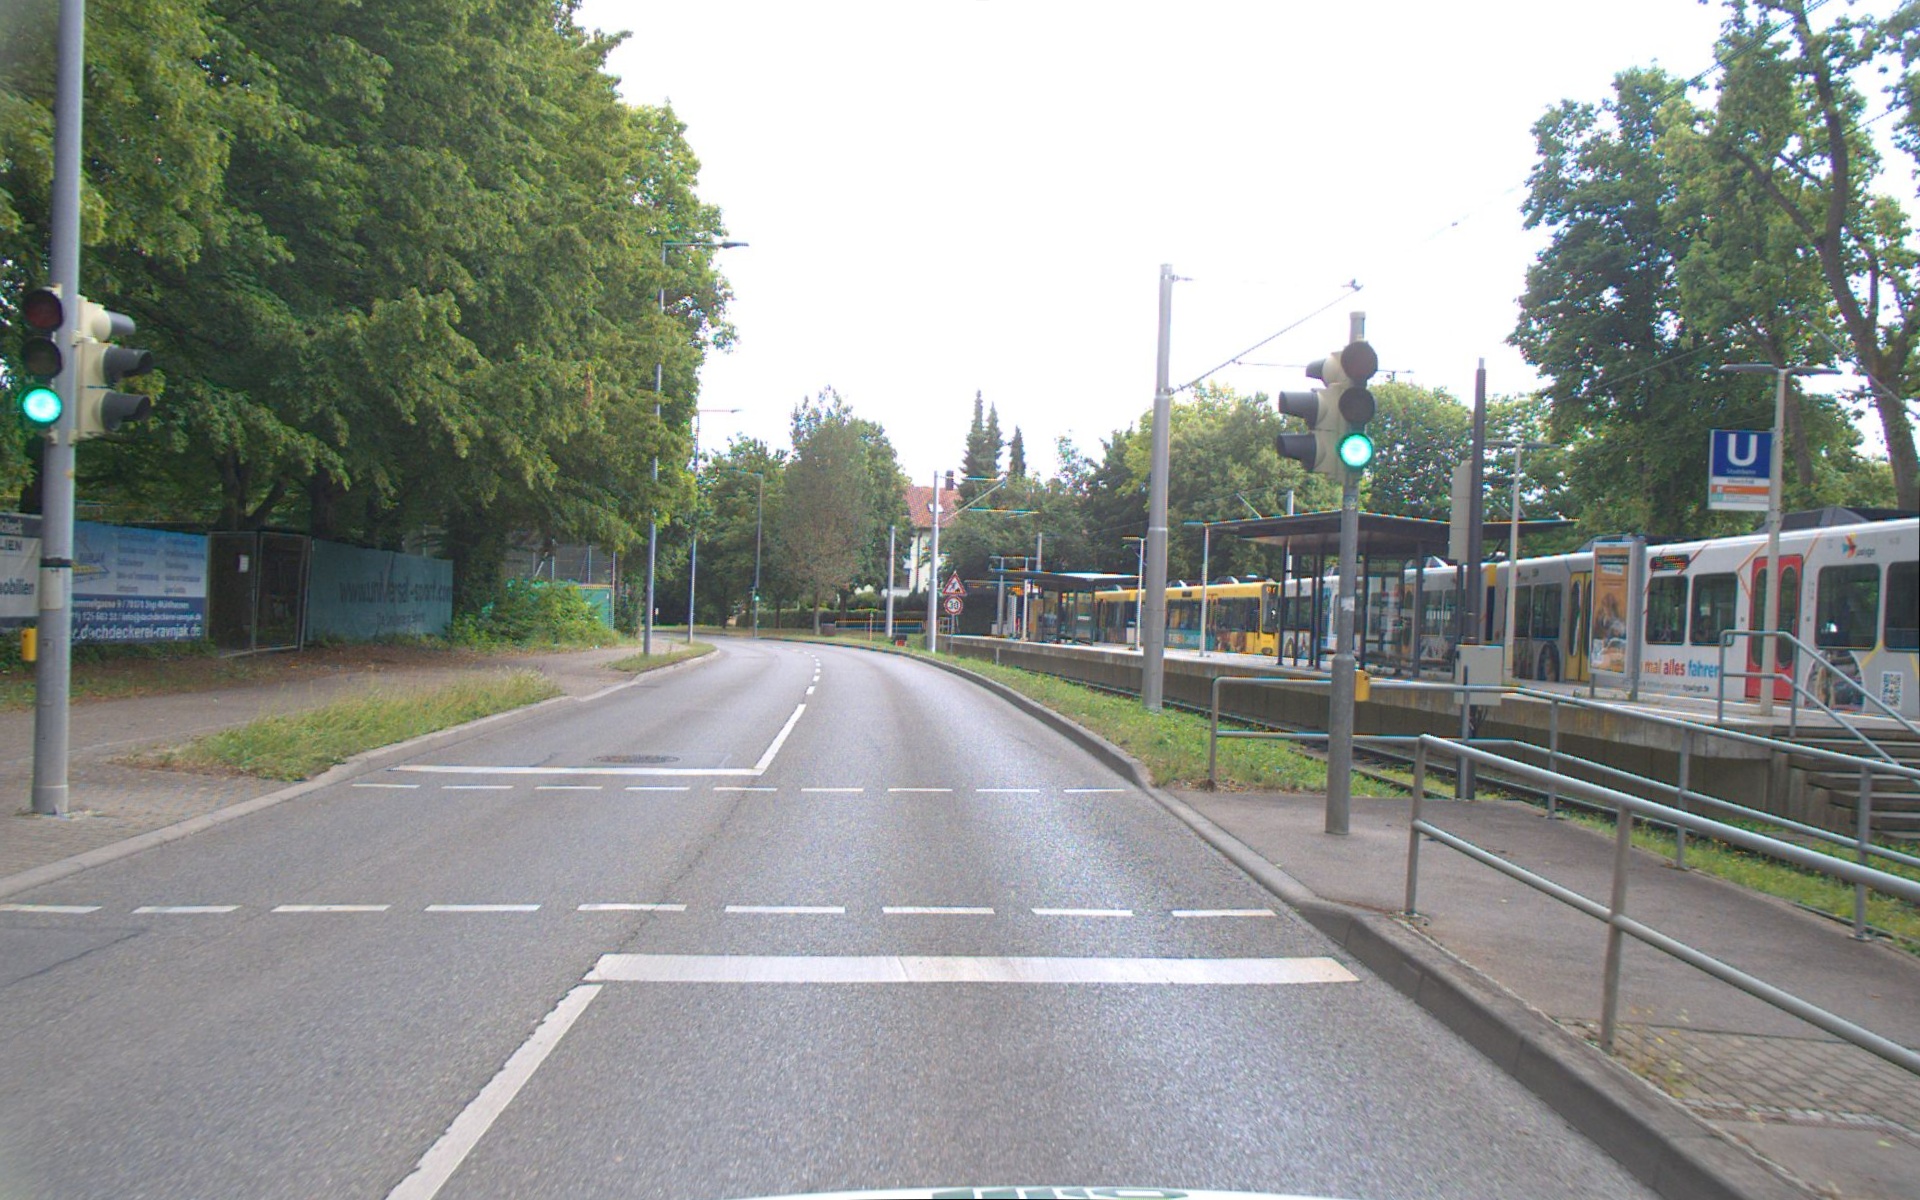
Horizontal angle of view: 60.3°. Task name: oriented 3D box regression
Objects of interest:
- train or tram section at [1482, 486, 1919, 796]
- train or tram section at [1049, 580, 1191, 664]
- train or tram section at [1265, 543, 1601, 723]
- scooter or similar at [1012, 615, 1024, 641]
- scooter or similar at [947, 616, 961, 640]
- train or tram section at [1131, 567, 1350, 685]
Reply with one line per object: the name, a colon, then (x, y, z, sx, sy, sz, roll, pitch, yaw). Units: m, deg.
train or tram section: (13.082, 0.652, 27.321, 2.756, 3.802, 18.528, 3, -1, 0)
train or tram section: (7.750, 1.051, 84.315, 2.760, 3.651, 19.480, 3, -1, -7)
train or tram section: (12.281, 0.824, 46.249, 2.758, 3.865, 18.918, 3, -1, -3)
scooter or similar: (2.890, 1.386, 82.915, 0.361, 1.264, 1.144, 2, -1, -9)
scooter or similar: (-0.332, 1.580, 92.492, 0.423, 1.275, 1.248, 1, -3, -17)
train or tram section: (10.372, 0.943, 64.902, 2.760, 3.802, 19.480, 3, -1, -7)
